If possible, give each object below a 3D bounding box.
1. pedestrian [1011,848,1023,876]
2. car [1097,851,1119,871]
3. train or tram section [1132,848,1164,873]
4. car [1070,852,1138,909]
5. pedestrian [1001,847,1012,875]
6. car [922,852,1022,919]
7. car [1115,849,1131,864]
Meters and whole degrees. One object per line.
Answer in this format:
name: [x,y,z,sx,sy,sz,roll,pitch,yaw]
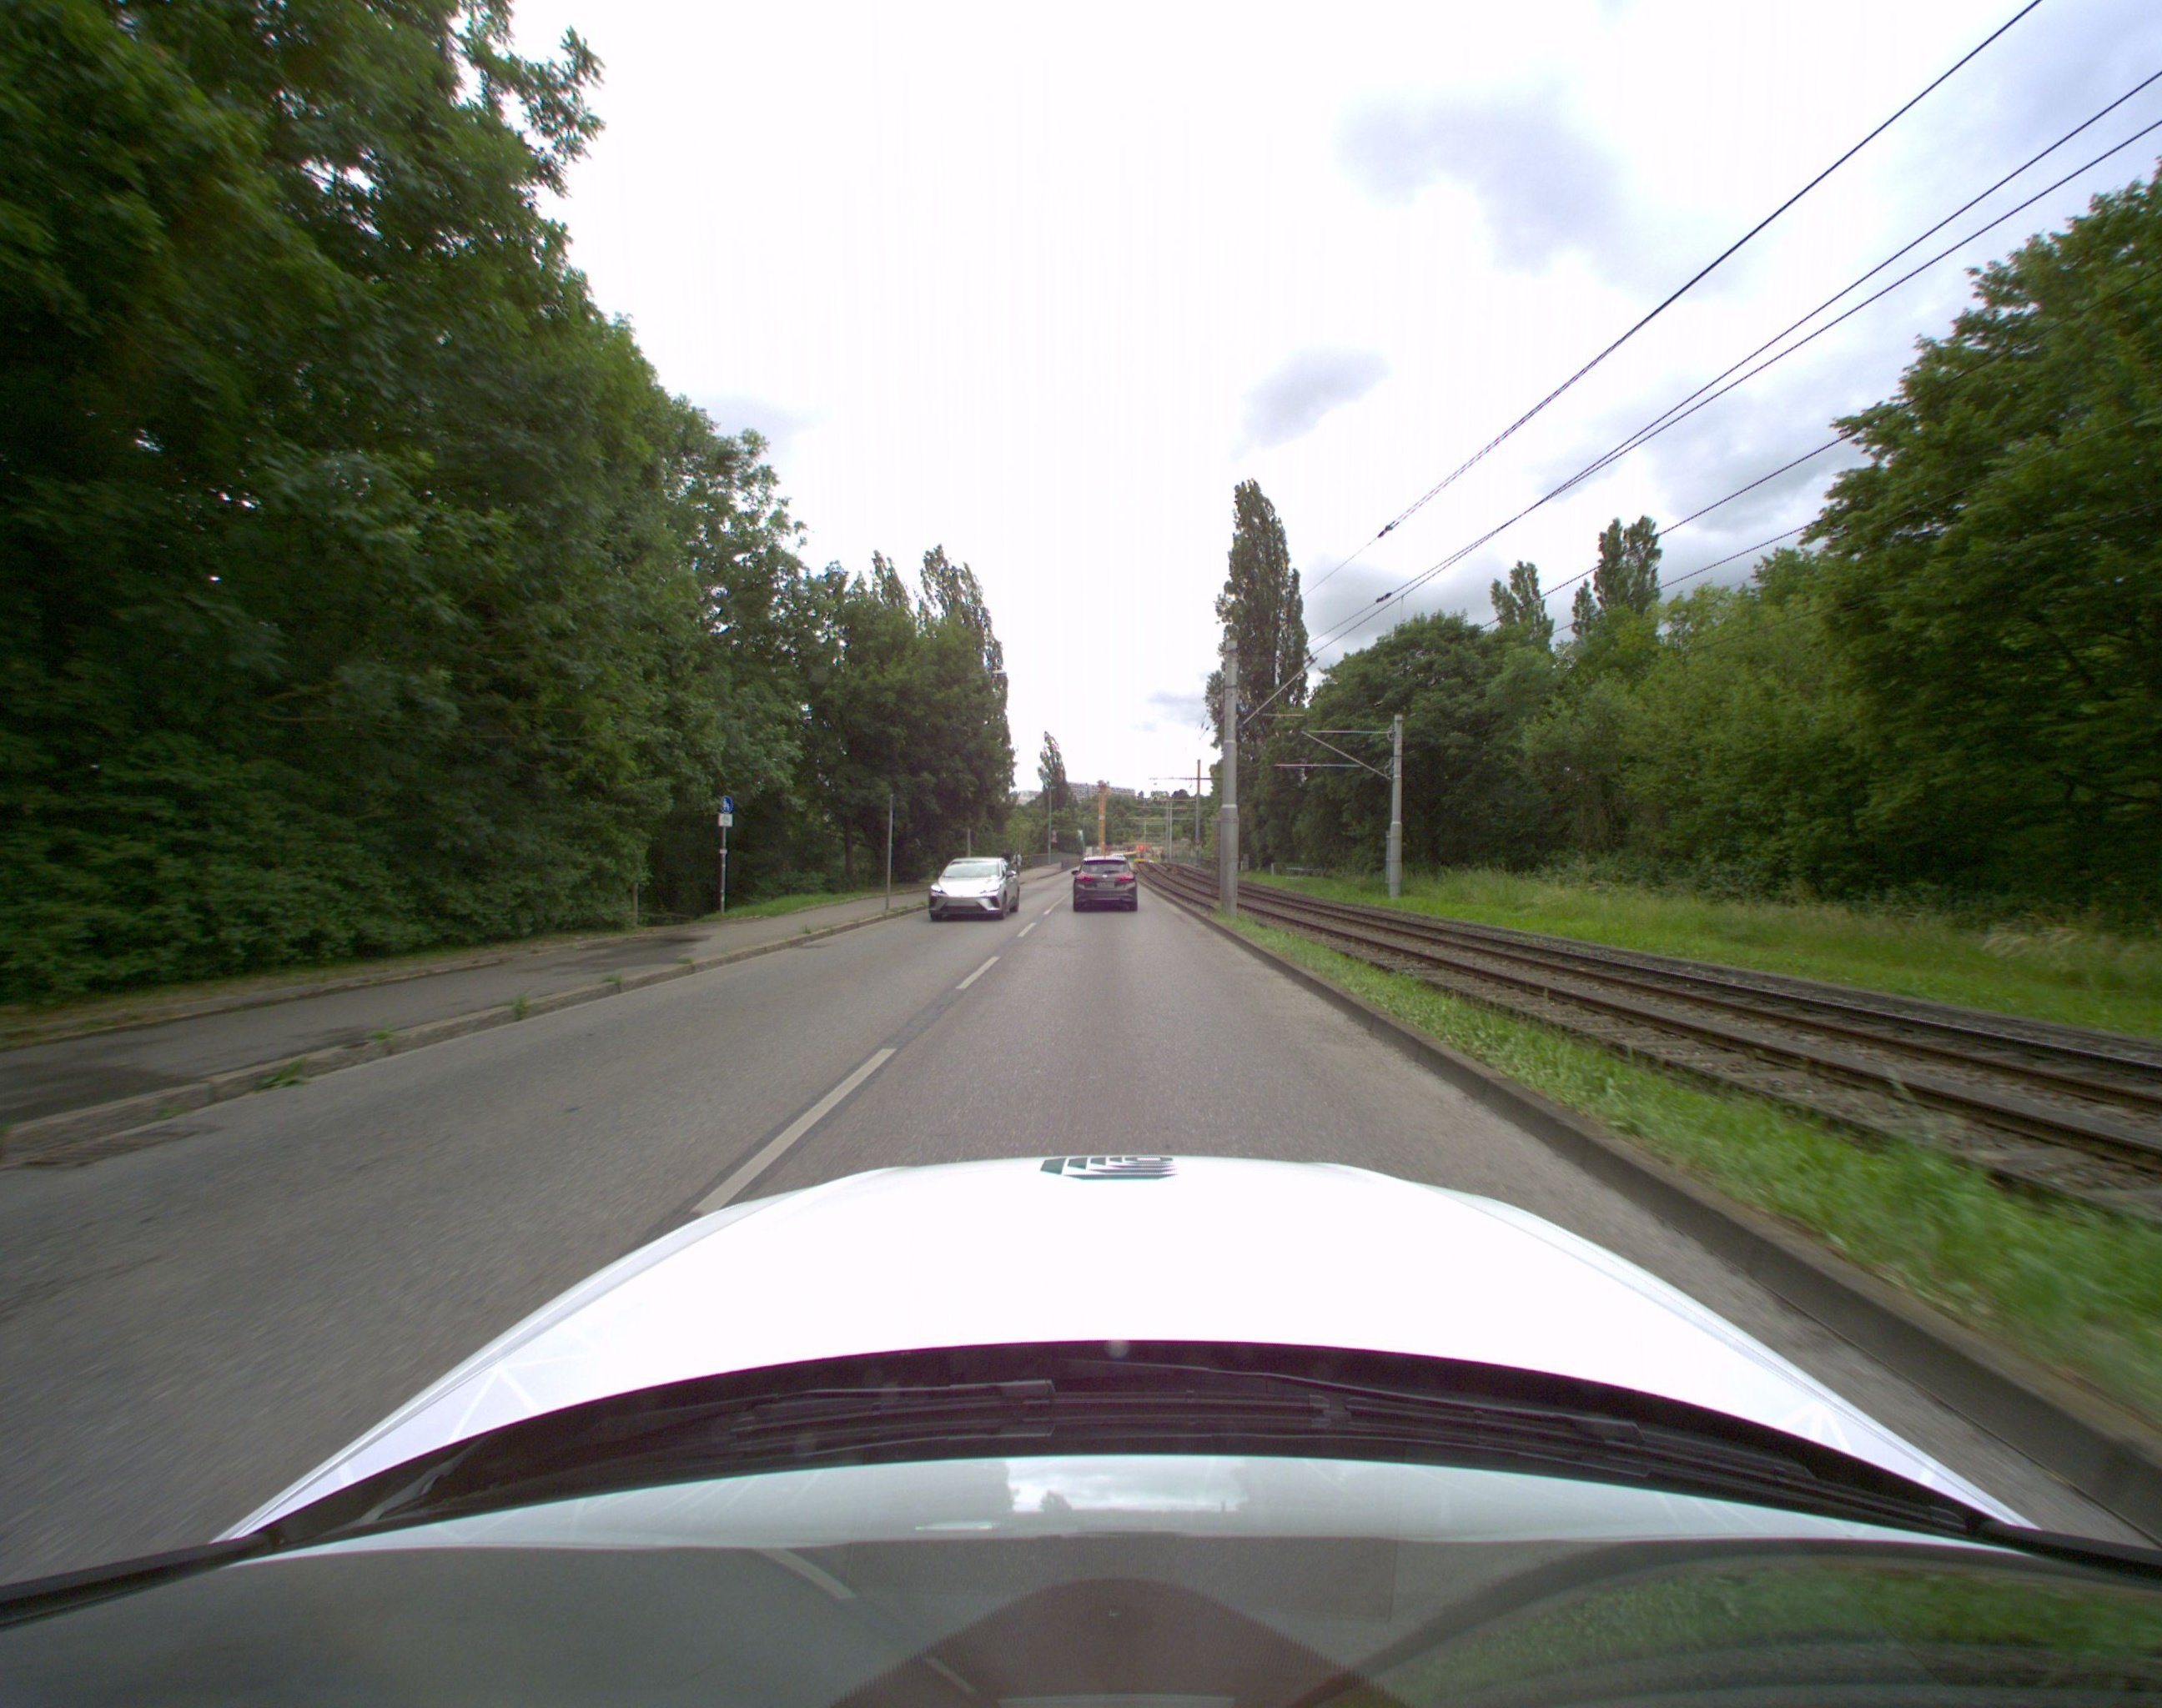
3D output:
pedestrian: [-4.158,0.533,53.154,0.549,1.765,0.858,4,0,2]
car: [2.348,0.543,70.017,1.673,1.606,4.313,2,0,3]
train or tram section: [15.490,1.655,190.843,3.024,5.183,23.000,2,-2,-6]
car: [0.614,0.704,23.639,1.824,1.510,3.999,0,0,0]
pedestrian: [-4.833,0.457,52.933,0.585,1.803,0.822,2,0,2]
car: [-2.670,0.728,20.932,1.787,1.492,4.182,-2,0,2]
car: [4.690,0.232,90.818,1.673,1.606,4.313,1,0,3]
